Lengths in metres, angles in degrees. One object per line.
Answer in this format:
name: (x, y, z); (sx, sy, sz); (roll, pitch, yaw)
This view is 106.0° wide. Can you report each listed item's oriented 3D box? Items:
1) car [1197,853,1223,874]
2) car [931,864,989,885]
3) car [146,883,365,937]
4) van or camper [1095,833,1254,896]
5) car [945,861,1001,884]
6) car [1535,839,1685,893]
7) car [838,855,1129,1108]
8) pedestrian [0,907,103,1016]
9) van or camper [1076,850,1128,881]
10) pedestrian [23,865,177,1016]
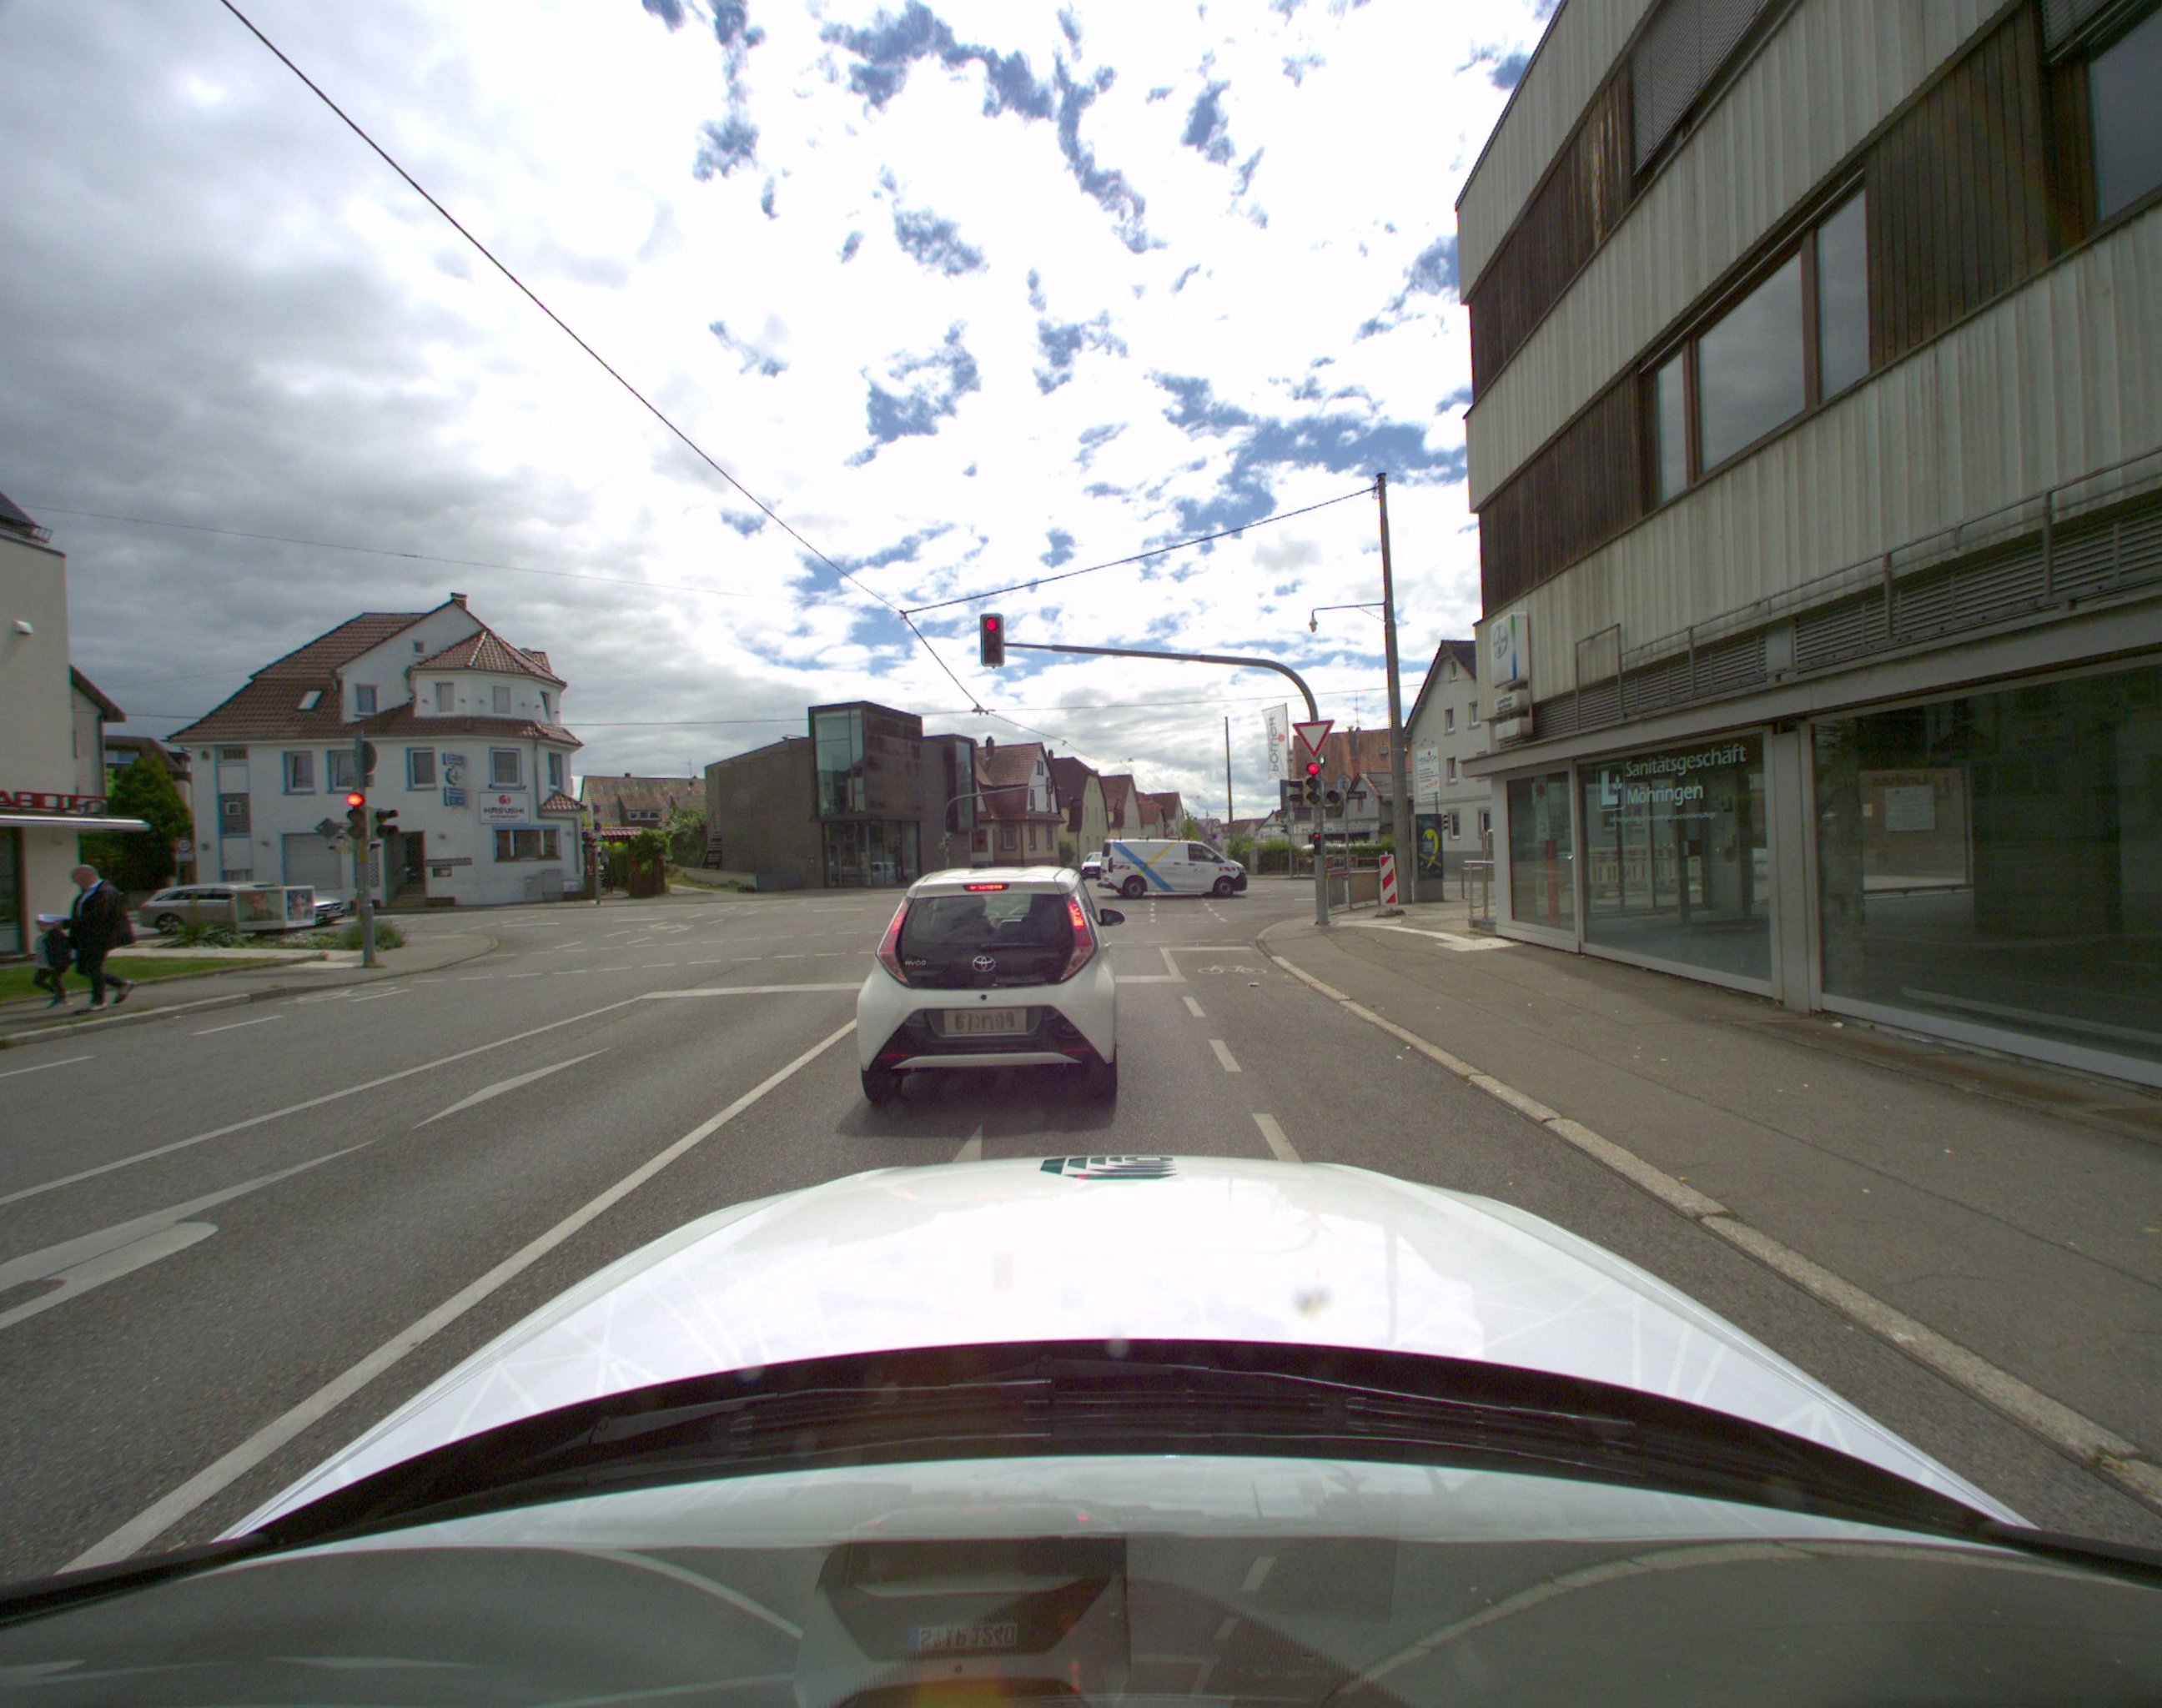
car: (11.842, 0.872, 74.655); (1.979, 1.849, 4.089); (-1, 0, 15)
car: (-8.475, 1.458, 57.104); (3.589, 1.419, 1.697); (-1, 0, 13)
car: (-25.123, 1.671, 24.939); (4.494, 1.456, 1.893); (-1, 0, -6)
van or camper: (3.151, 0.340, 27.929); (5.113, 2.077, 1.995); (0, 0, -8)
car: (-7.828, 1.365, 59.214); (3.589, 1.605, 1.697); (-1, 0, 13)
car: (19.797, 0.417, 30.556); (4.495, 1.742, 1.996); (-2, 2, -7)
car: (-0.566, 0.749, 6.419); (1.691, 1.456, 3.298); (-1, 0, 0)
pedestrian: (-12.685, 1.290, 9.909); (0.643, 1.221, 0.734); (-2, 0, -6)
van or camper: (1.469, 0.728, 53.955); (2.099, 1.926, 5.308); (-1, 0, 17)
pedestrian: (-11.913, 1.013, 9.920); (0.813, 1.721, 0.823); (-2, 0, -5)
